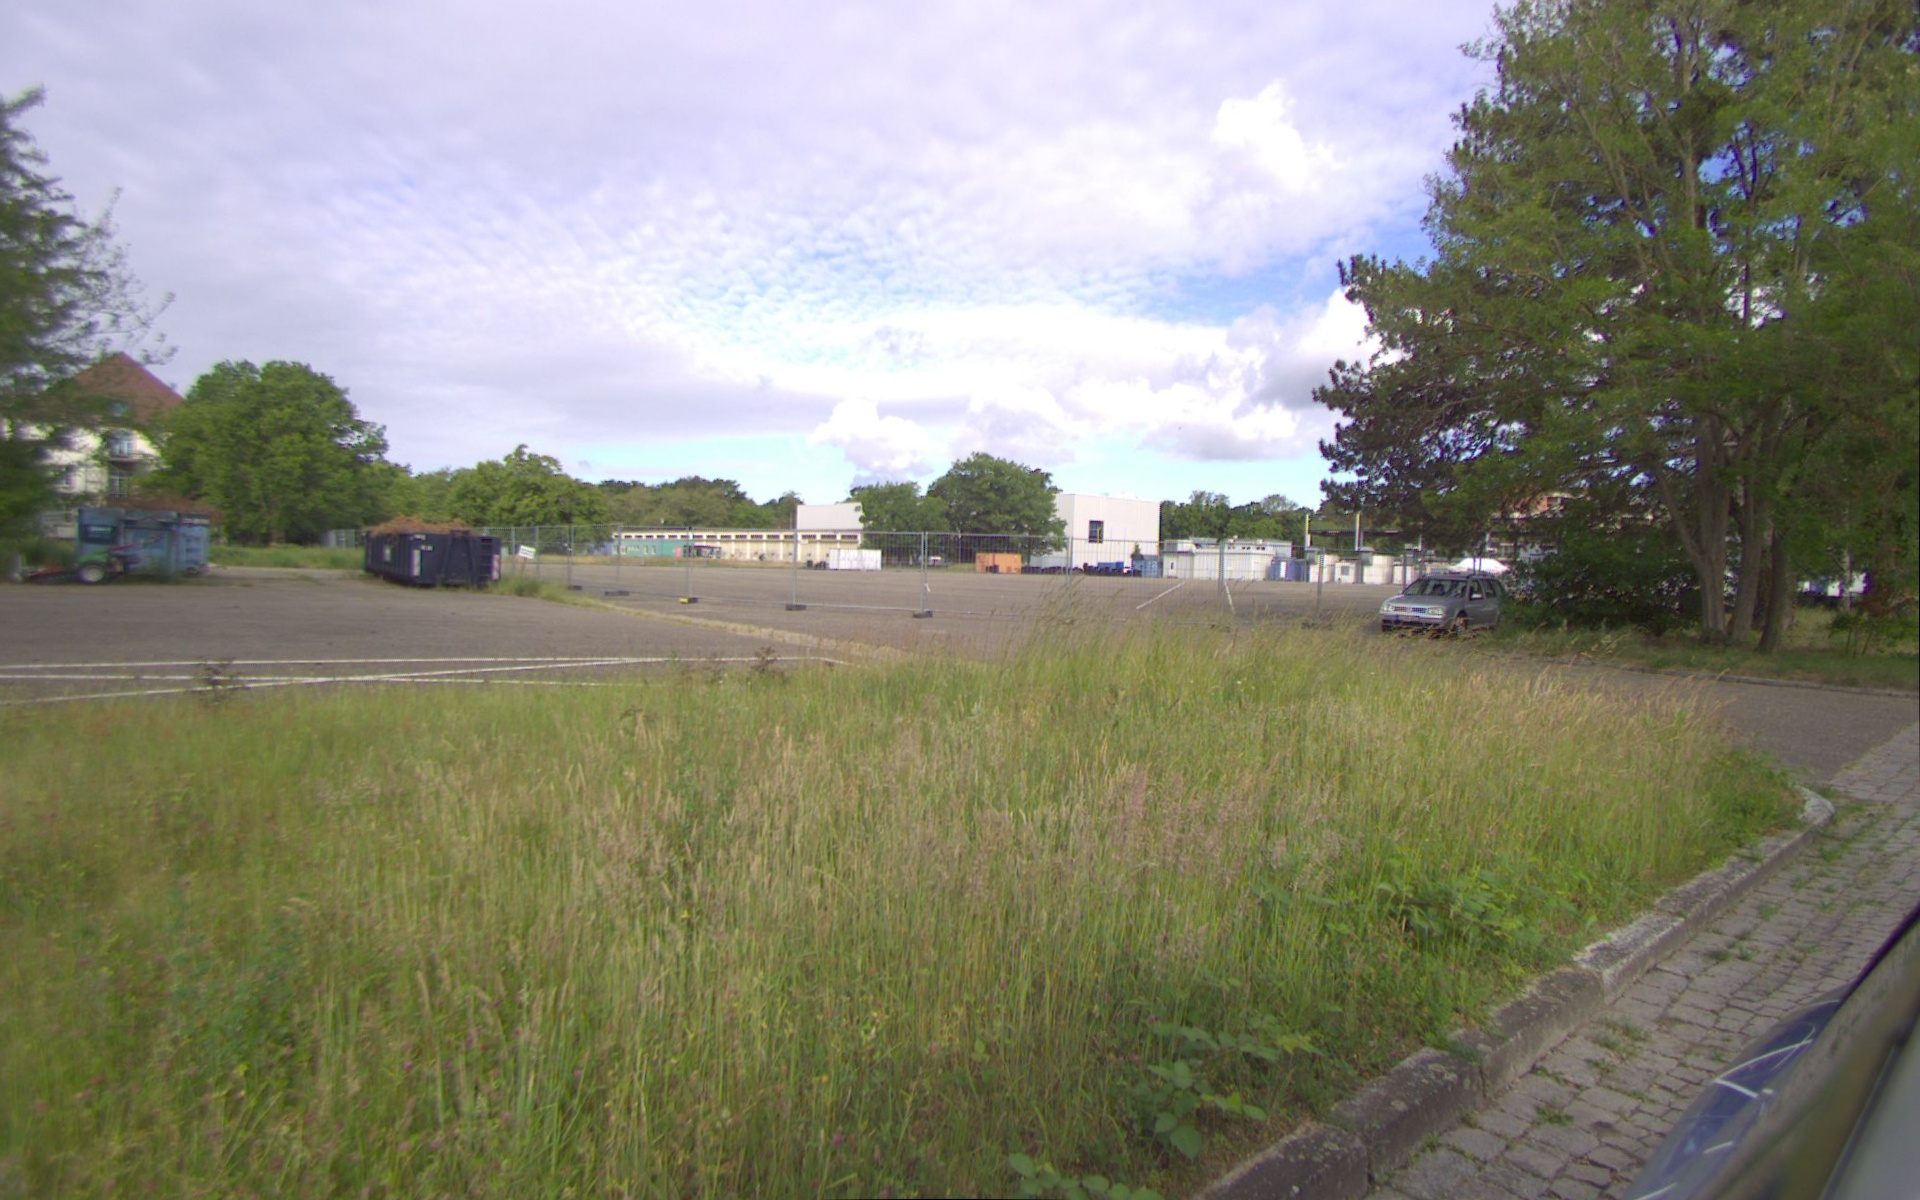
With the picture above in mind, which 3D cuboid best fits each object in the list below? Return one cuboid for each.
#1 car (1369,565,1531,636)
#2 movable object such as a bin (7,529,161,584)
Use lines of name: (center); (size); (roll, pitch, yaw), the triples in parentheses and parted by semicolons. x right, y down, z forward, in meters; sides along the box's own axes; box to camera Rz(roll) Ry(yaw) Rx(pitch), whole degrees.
car: (11.501, -0.022, 23.640); (4.250, 1.466, 1.759); (0, 3, -40)
movable object such as a bin: (-19.248, -0.951, 22.313); (2.499, 1.097, 1.064); (1, 2, -42)
